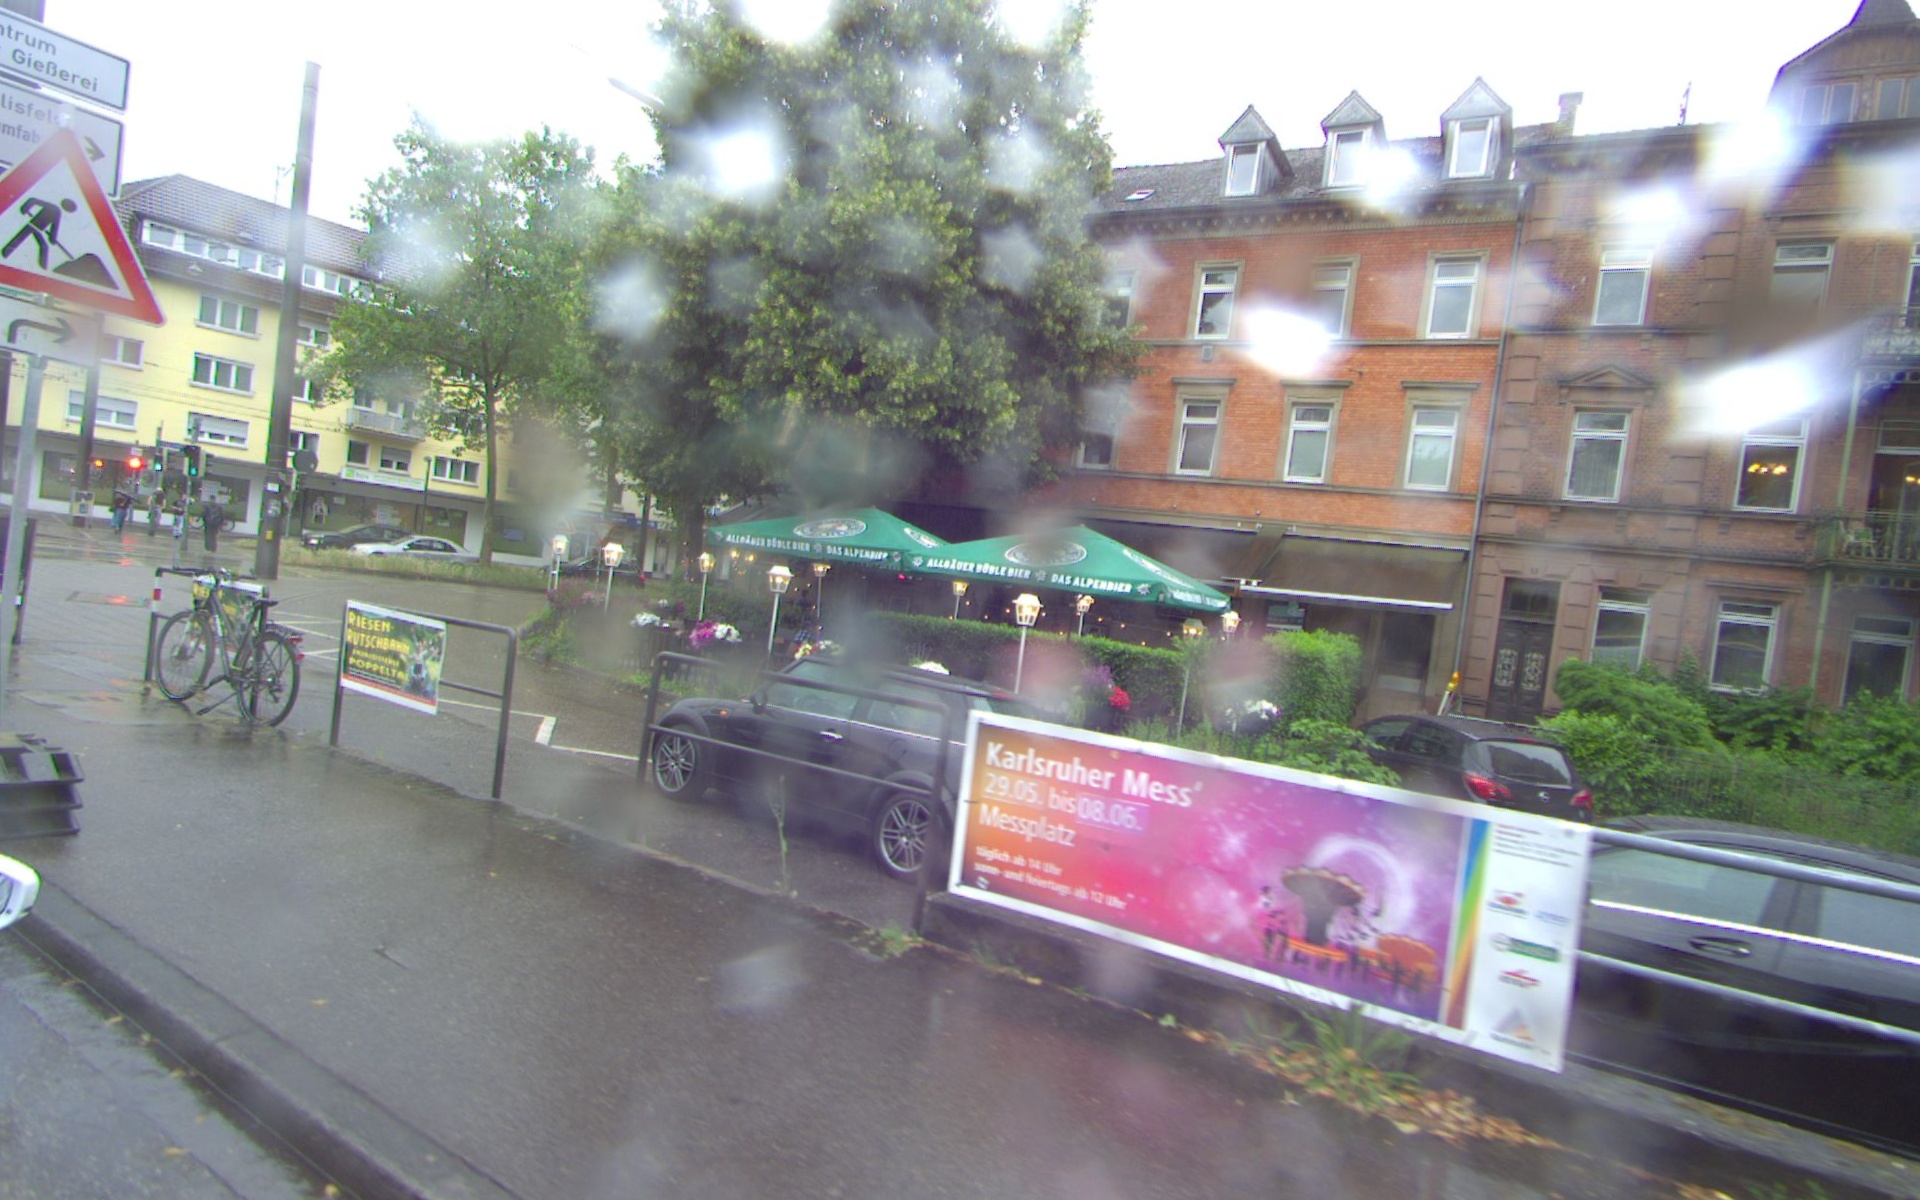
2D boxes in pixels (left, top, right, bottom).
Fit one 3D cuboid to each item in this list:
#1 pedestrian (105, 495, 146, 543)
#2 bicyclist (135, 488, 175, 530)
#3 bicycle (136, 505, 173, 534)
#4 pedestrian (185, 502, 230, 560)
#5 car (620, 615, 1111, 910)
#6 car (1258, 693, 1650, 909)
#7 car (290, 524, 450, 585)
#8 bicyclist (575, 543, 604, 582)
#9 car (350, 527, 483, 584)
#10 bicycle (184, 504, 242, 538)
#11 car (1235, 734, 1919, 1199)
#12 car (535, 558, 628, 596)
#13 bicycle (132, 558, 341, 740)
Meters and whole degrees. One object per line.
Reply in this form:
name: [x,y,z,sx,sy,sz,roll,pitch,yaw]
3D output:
pedestrian: [-29.194,-2.830,35.205,0.612,1.552,0.816,7,0,-6]
bicyclist: [-33.657,-3.789,42.082,0.924,1.566,1.063,7,0,-24]
bicycle: [-33.693,-3.342,42.092,0.651,1.039,2.012,7,-1,-25]
pedestrian: [-23.985,-2.200,32.089,0.898,1.689,1.011,7,0,-32]
car: [-0.816,1.167,8.099,3.467,1.457,1.709,8,-3,34]
car: [5.830,2.326,12.476,1.972,1.733,3.984,8,-1,-19]
car: [-22.868,-1.735,39.133,1.975,1.661,4.928,3,-3,43]
bicyclist: [-16.928,-1.713,45.931,0.699,1.635,0.815,7,0,33]
car: [-20.225,-1.641,37.508,3.925,1.508,1.784,8,0,-43]
bicycle: [-35.998,-3.810,48.510,2.096,1.277,0.525,8,1,-44]
car: [3.696,1.759,5.277,3.907,1.417,1.705,7,-1,32]
car: [-15.978,-0.955,42.596,1.227,1.095,3.531,7,-1,35]
bicycle: [-5.641,0.348,7.798,1.984,1.119,0.515,7,-2,34]
